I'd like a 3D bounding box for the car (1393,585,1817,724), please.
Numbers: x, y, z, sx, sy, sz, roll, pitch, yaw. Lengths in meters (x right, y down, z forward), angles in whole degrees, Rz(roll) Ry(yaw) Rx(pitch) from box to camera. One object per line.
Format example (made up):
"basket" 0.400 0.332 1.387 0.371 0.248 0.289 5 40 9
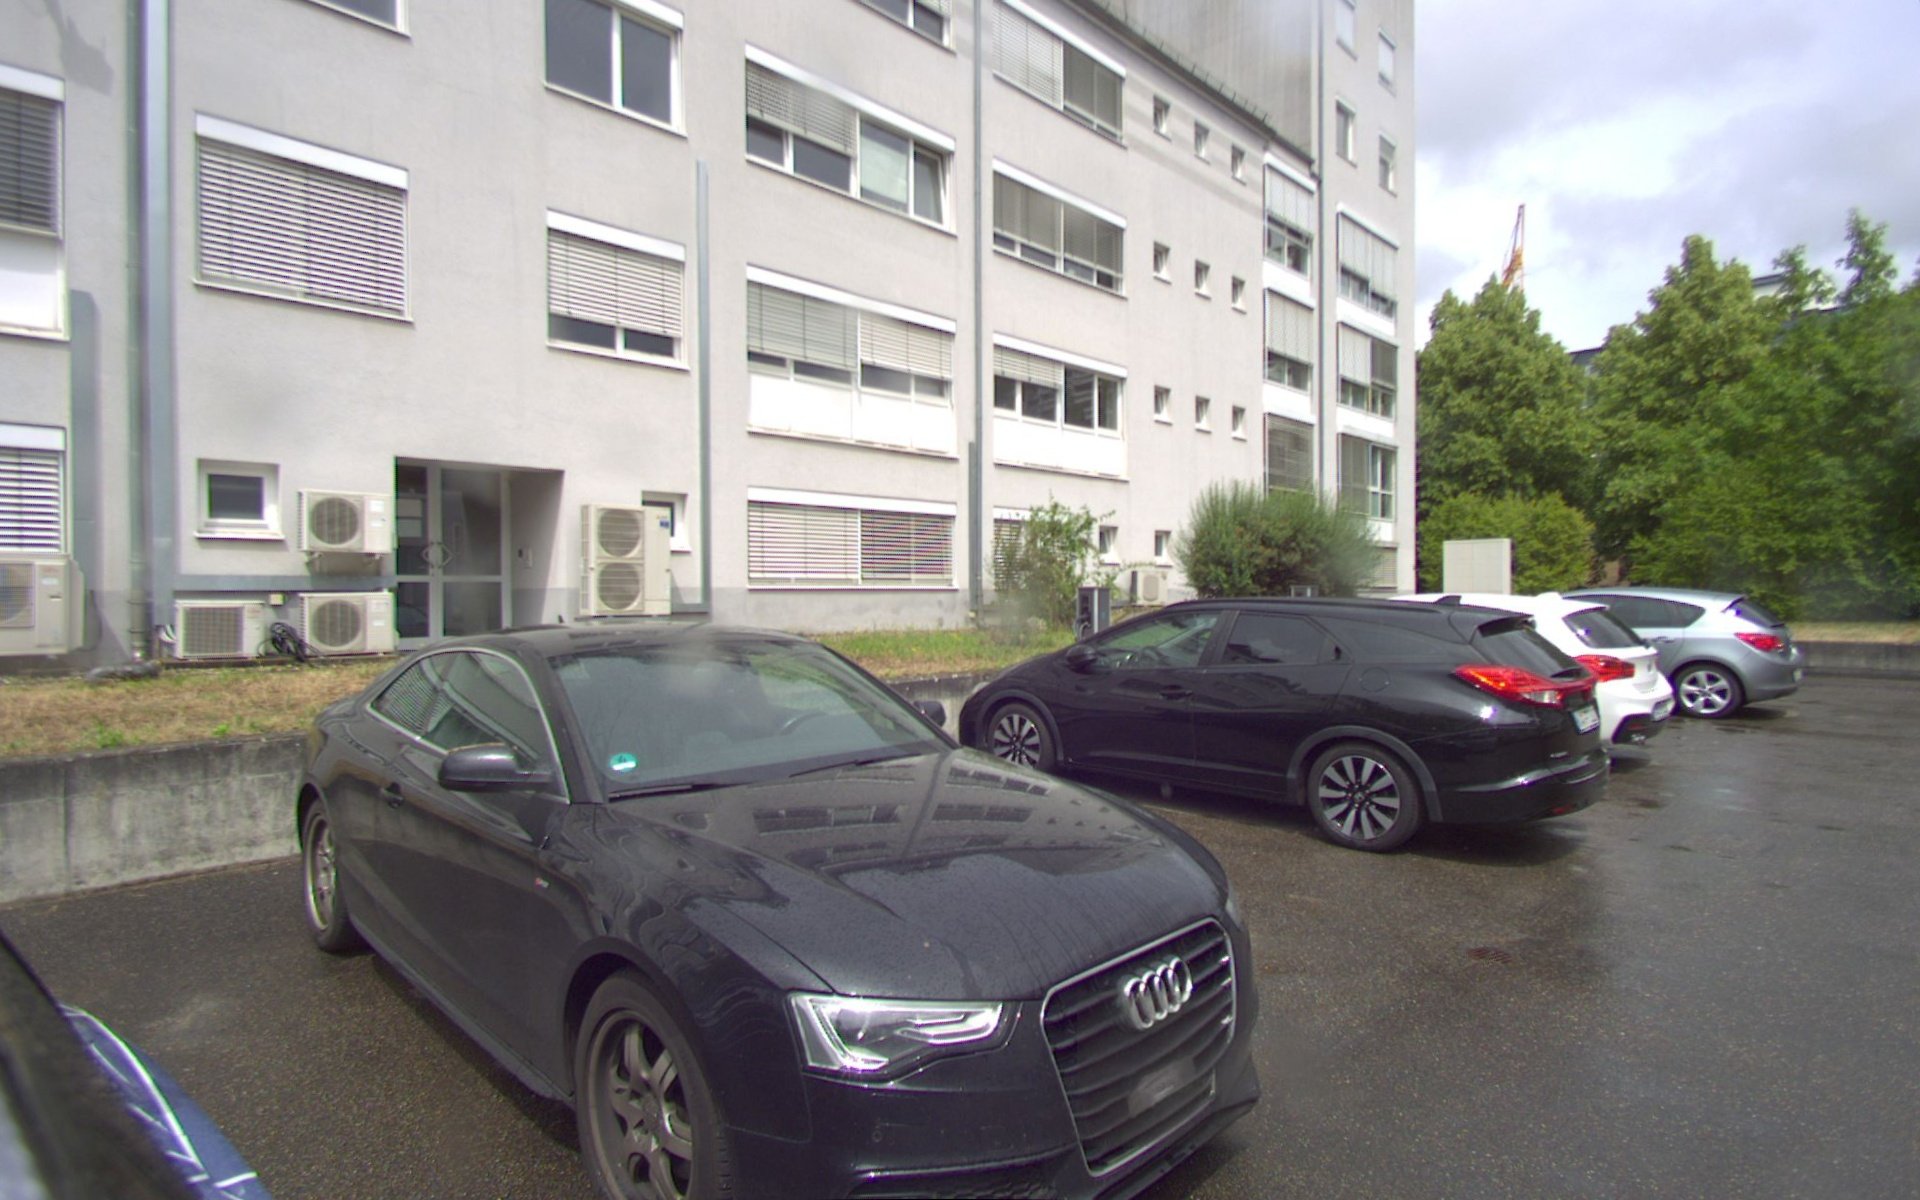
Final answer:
"car" 8.061 0.551 12.934 4.317 1.453 1.738 1 2 44

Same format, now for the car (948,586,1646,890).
"car" 2.053 0.648 7.070 4.317 1.453 1.738 1 2 44

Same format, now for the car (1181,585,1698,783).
"car" 4.334 0.598 9.625 1.671 1.453 4.128 -1 2 -45

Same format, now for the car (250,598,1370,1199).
"car" -1.093 0.717 3.736 4.532 1.362 1.737 1 2 45
